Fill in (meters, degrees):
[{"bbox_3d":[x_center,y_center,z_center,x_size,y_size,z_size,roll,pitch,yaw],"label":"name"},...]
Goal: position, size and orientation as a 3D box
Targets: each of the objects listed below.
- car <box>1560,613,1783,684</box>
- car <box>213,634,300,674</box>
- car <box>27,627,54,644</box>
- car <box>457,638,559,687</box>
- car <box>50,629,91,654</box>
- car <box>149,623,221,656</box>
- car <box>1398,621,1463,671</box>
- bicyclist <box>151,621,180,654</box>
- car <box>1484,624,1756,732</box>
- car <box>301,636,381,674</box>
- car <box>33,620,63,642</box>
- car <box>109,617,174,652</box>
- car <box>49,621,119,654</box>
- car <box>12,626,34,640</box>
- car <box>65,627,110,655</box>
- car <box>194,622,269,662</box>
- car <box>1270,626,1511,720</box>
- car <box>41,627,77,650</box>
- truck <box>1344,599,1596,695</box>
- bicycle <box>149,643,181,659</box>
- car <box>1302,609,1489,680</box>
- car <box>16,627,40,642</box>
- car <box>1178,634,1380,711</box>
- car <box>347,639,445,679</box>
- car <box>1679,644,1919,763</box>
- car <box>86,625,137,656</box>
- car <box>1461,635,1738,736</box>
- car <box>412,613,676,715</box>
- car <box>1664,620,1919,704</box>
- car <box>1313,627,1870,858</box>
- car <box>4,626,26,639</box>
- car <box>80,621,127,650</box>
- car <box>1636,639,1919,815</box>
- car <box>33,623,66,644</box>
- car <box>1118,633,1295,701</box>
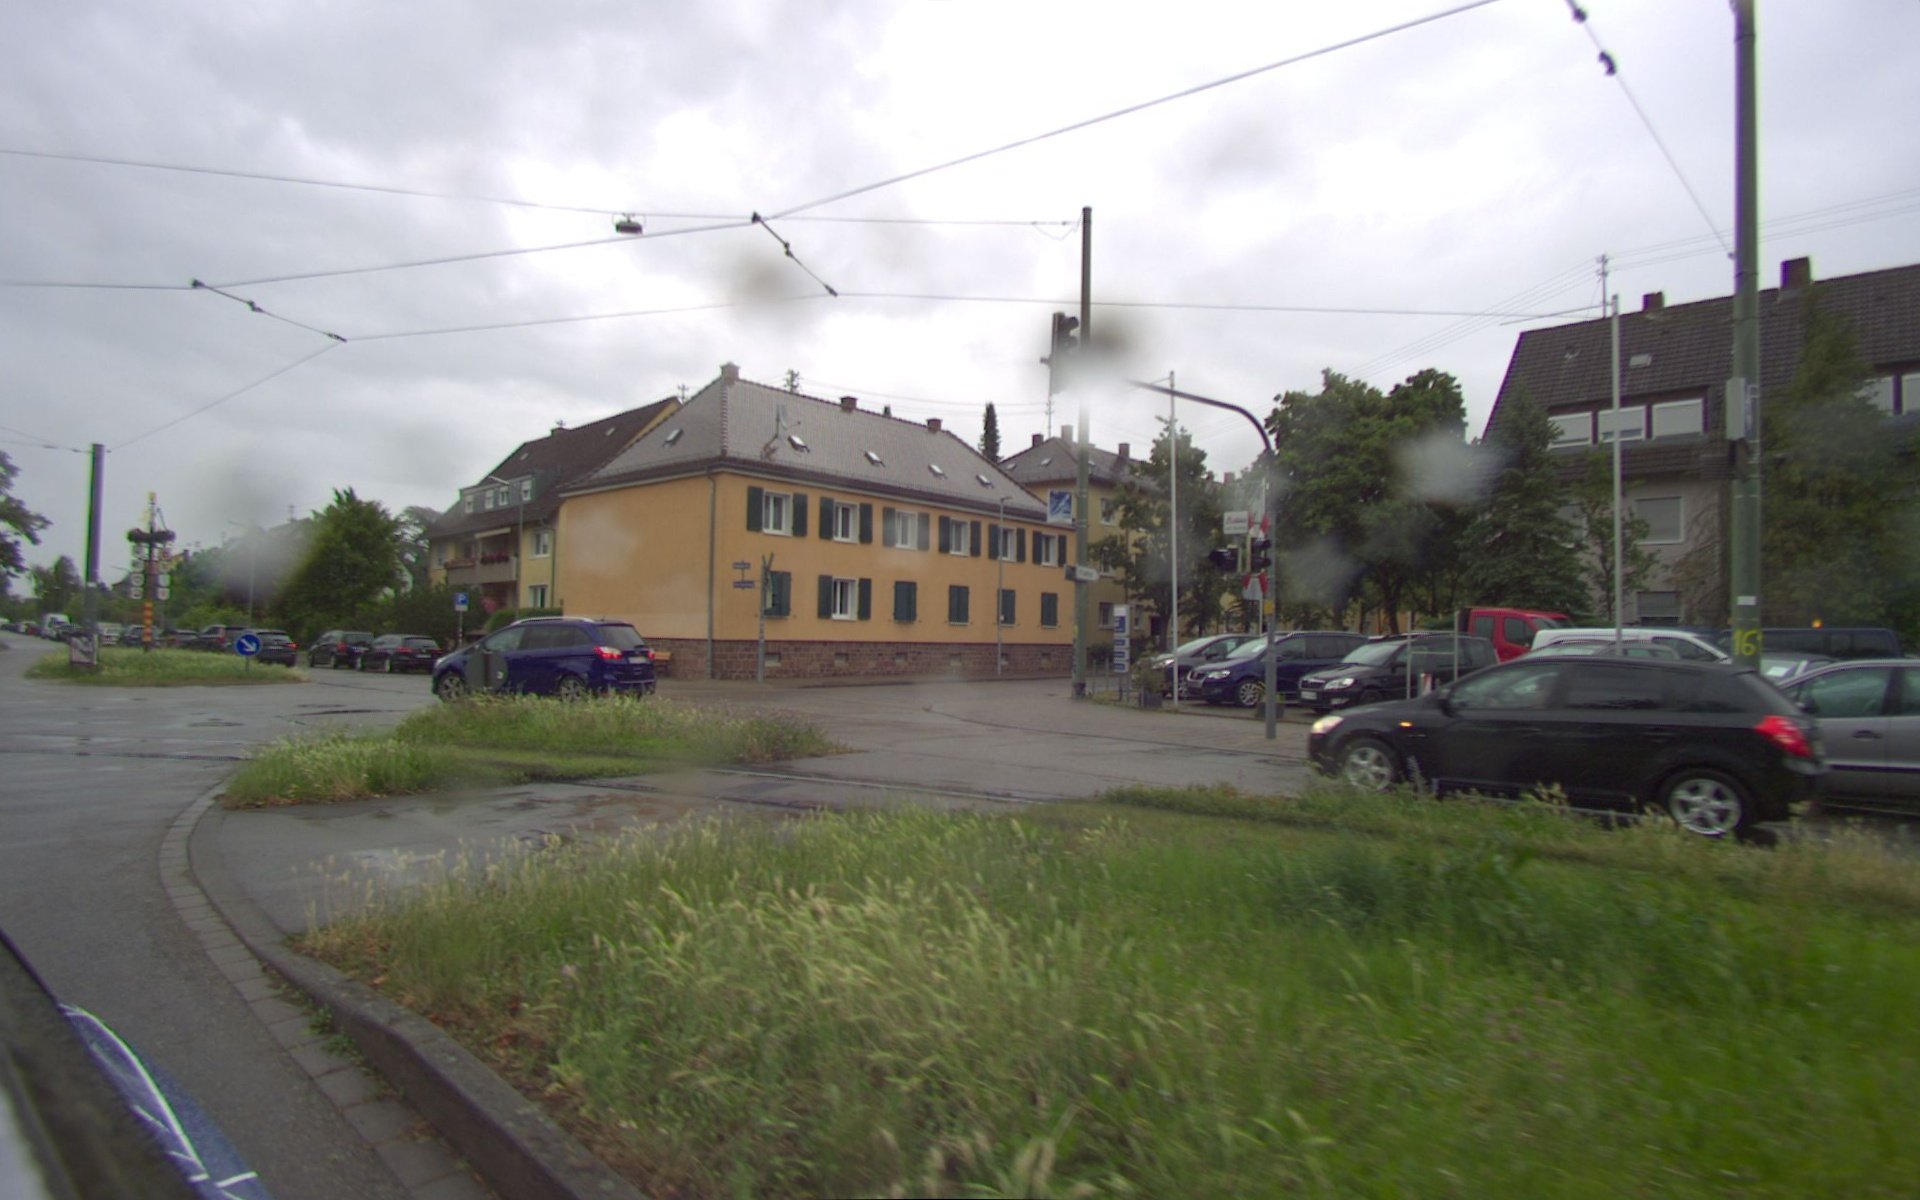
[{"bbox_3d":[18.457,1.262,26.389,1.970,1.700,4.451,4,-4,-43],"label":"car"},{"bbox_3d":[-27.822,2.115,39.970,4.000,1.487,1.972,-2,-4,43],"label":"car"},{"bbox_3d":[-108.665,4.224,119.575,4.000,1.807,1.972,1,-1,43],"label":"car"},{"bbox_3d":[-14.827,2.025,33.125,3.616,1.349,1.699,1,-1,42],"label":"car"},{"bbox_3d":[-71.975,3.369,81.871,4.000,1.807,1.972,1,-1,43],"label":"car"},{"bbox_3d":[-41.681,2.105,54.400,4.119,1.586,1.975,2,-1,37],"label":"car"},{"bbox_3d":[26.139,2.533,56.184,2.159,2.592,4.076,1,-1,41],"label":"car"},{"bbox_3d":[-39.359,1.880,50.137,1.042,1.610,0.936,-3,-4,42],"label":"bicyclist"},{"bbox_3d":[13.747,1.569,21.292,1.970,2.029,4.451,4,-4,-43],"label":"car"},{"bbox_3d":[-26.151,2.298,42.680,3.999,1.342,1.736,1,-1,41],"label":"car"},{"bbox_3d":[-93.315,3.186,103.546,4.002,2.049,1.971,1,-2,45],"label":"car"},{"bbox_3d":[-47.062,1.982,58.168,3.994,1.807,1.975,2,-1,37],"label":"car"},{"bbox_3d":[-40.408,1.737,46.673,4.000,1.487,1.972,-2,-4,43],"label":"car"},{"bbox_3d":[-134.880,4.715,145.651,4.000,1.807,1.972,1,-1,43],"label":"car"},{"bbox_3d":[-64.280,3.002,74.556,4.000,1.807,1.972,1,-1,43],"label":"car"},{"bbox_3d":[-36.928,2.125,51.287,3.994,1.807,1.975,2,-1,37],"label":"car"},{"bbox_3d":[8.470,1.440,20.057,3.933,1.730,2.005,1,-3,-13],"label":"car"},{"bbox_3d":[-80.722,3.431,90.691,4.000,1.807,1.972,1,-1,43],"label":"car"},{"bbox_3d":[13.513,1.291,27.384,1.965,2.289,6.122,3,-4,-26],"label":"truck"},{"bbox_3d":[-39.401,2.513,50.154,1.819,0.792,0.929,-2,-4,43],"label":"bicycle"},{"bbox_3d":[10.851,1.144,25.512,1.965,1.610,3.991,3,-4,-26],"label":"car"},{"bbox_3d":[-122.240,4.530,132.720,4.000,1.807,1.972,1,-1,43],"label":"car"},{"bbox_3d":[6.974,1.574,22.279,3.807,1.591,1.812,1,-3,-13],"label":"car"},{"bbox_3d":[-21.753,2.244,38.959,4.504,1.407,1.939,-1,-3,42],"label":"car"},{"bbox_3d":[12.997,1.513,15.339,3.988,1.516,1.839,3,-1,-29],"label":"car"},{"bbox_3d":[-55.078,2.602,65.653,4.000,1.807,1.972,1,-1,43],"label":"car"},{"bbox_3d":[10.915,1.449,17.336,3.989,1.516,1.839,3,-1,-18],"label":"car"},{"bbox_3d":[-7.979,1.157,19.447,4.540,1.617,1.986,2,-1,21],"label":"car"},{"bbox_3d":[18.822,1.374,22.882,1.970,1.700,4.451,4,-4,-43],"label":"car"},{"bbox_3d":[5.537,1.085,9.235,1.716,1.497,4.003,3,-1,-44],"label":"car"},{"bbox_3d":[-139.892,4.817,149.821,4.000,1.807,1.972,1,-1,43],"label":"car"},{"bbox_3d":[-60.183,2.488,71.059,4.000,1.807,1.972,1,-1,43],"label":"car"},{"bbox_3d":[9.154,1.246,10.167,1.697,1.516,3.646,3,-2,-45],"label":"car"},{"bbox_3d":[-88.381,3.249,98.198,4.000,1.807,1.972,1,-1,43],"label":"car"},{"bbox_3d":[6.031,1.636,24.963,3.807,1.591,1.812,1,-3,-13],"label":"car"}]
